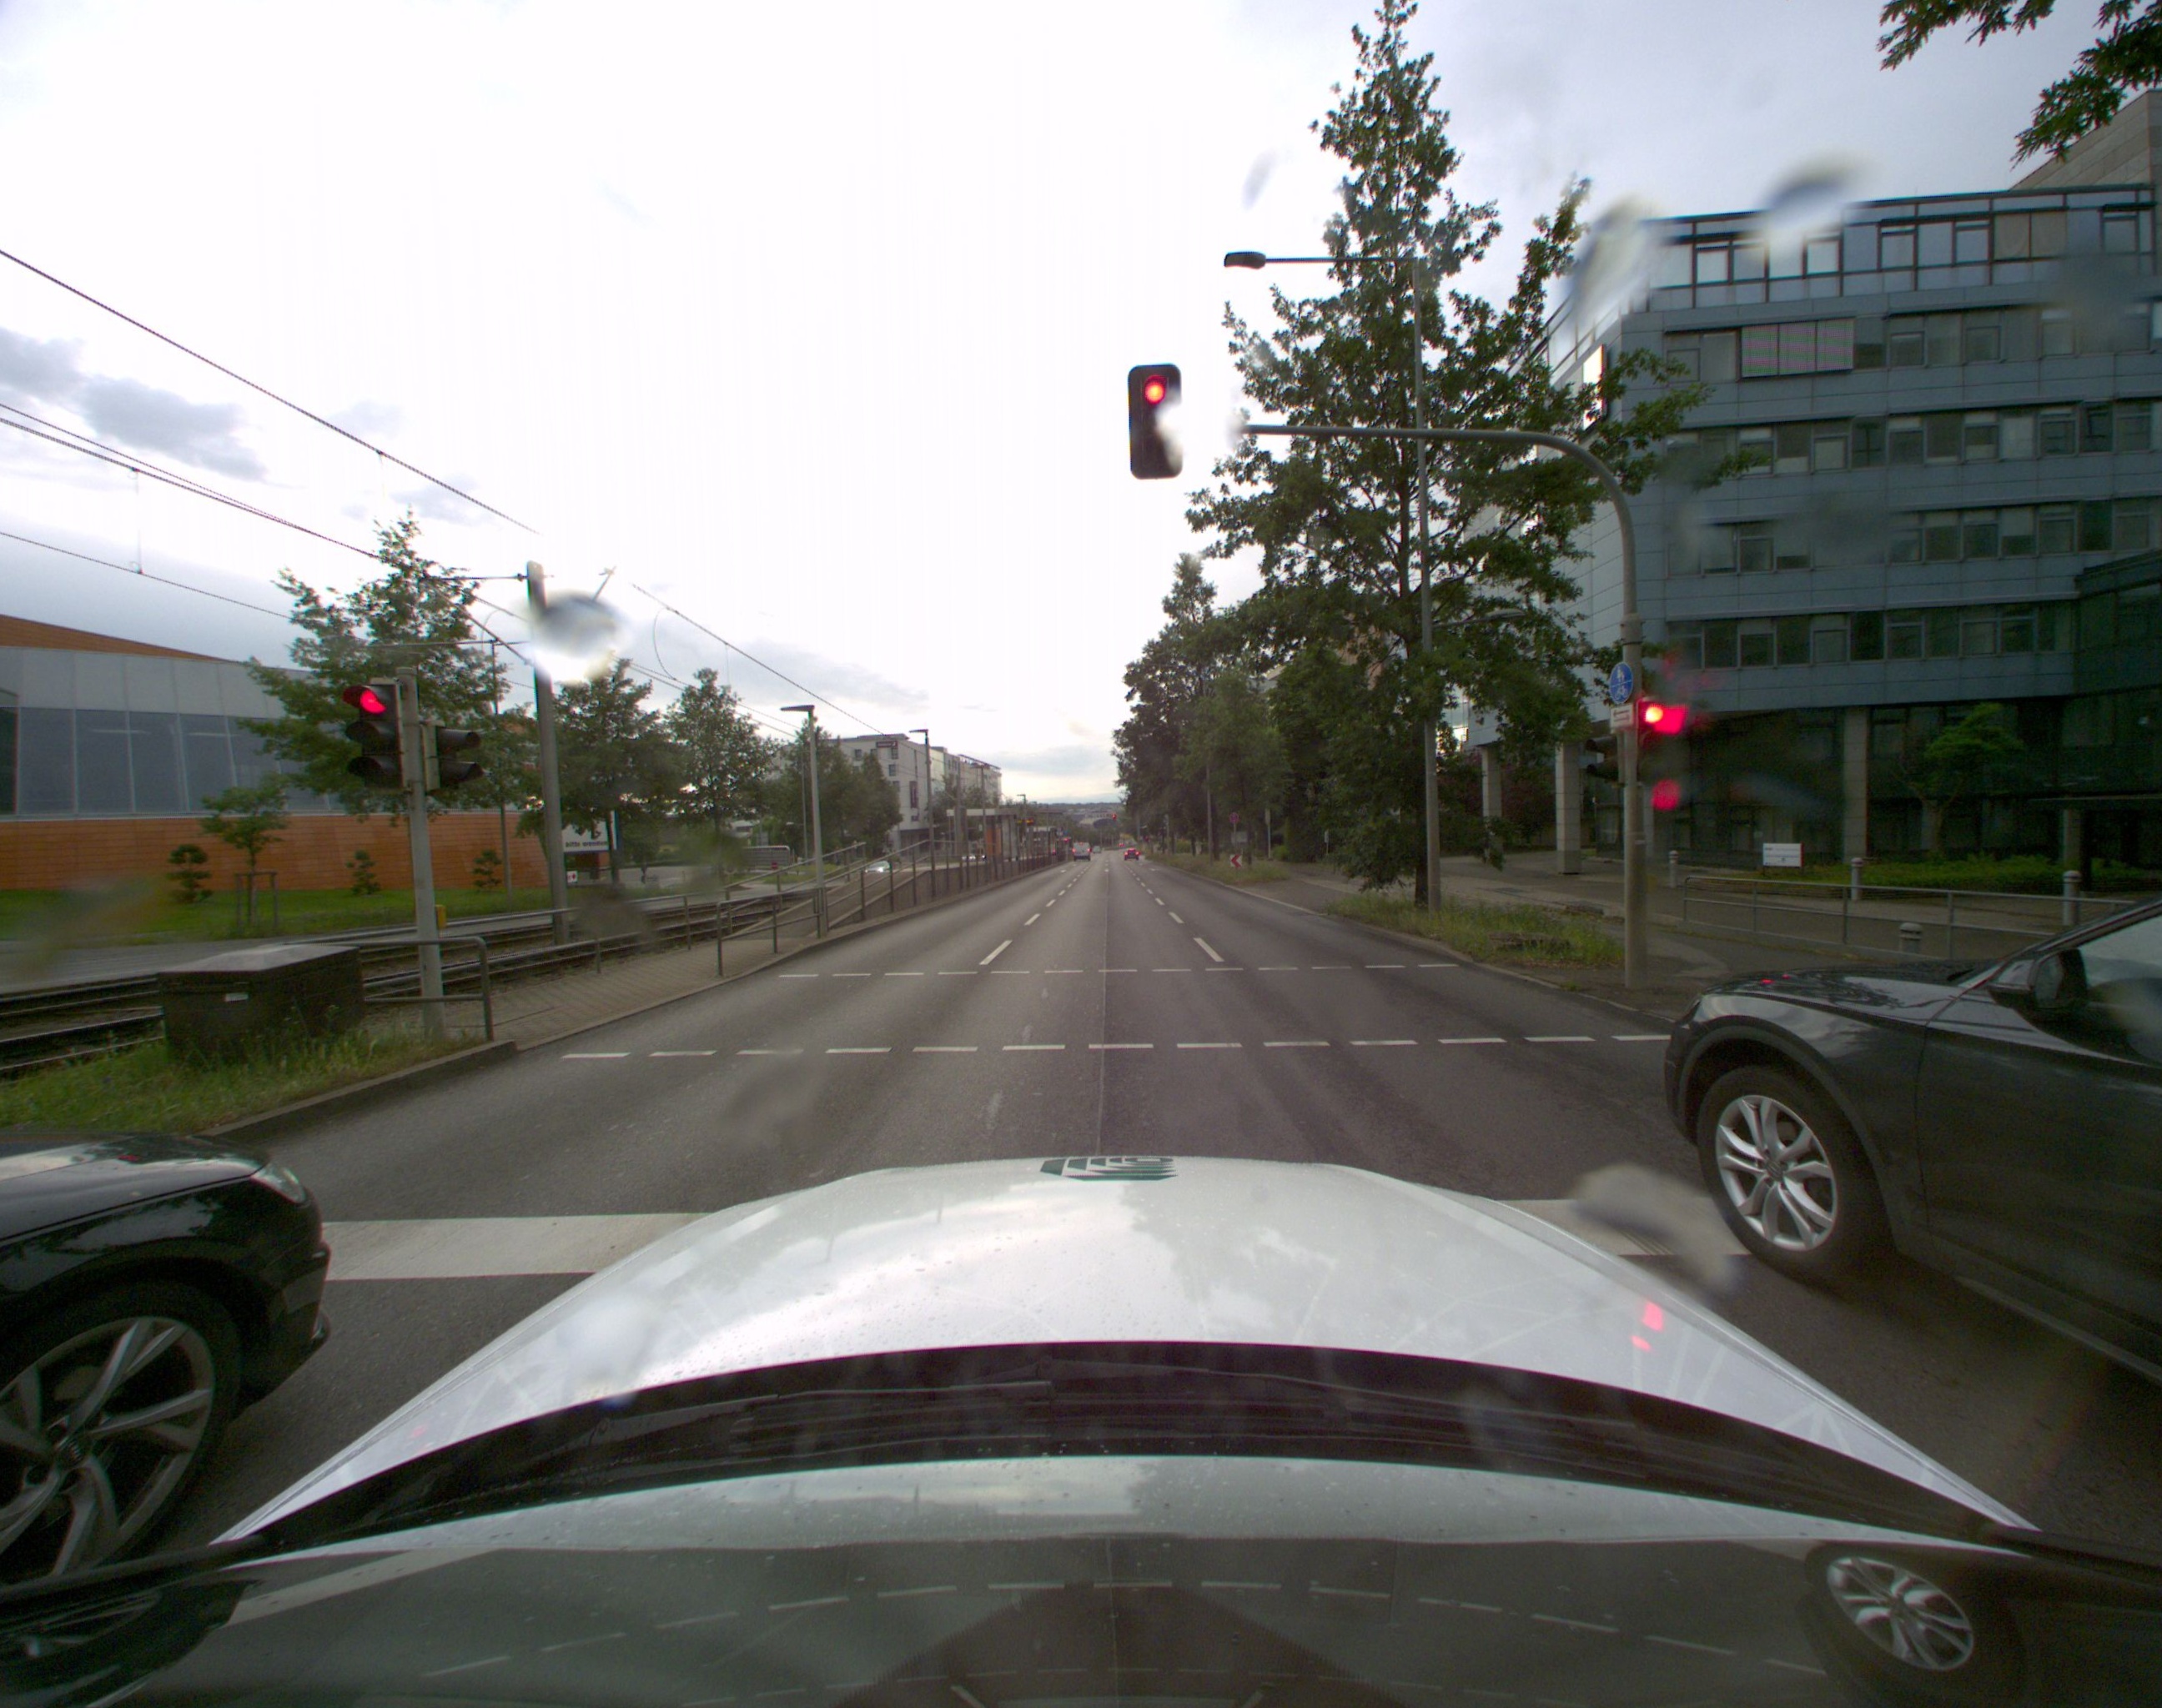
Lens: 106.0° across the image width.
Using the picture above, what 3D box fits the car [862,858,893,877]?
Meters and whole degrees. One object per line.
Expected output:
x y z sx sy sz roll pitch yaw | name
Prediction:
-17.444 1.168 70.077 1.645 1.436 3.879 -4 0 0 | car

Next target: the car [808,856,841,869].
-29.819 1.028 94.832 3.346 1.387 1.438 -1 0 11 | car

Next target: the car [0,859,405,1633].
-3.002 0.777 0.207 1.774 1.466 4.515 -1 0 2 | car

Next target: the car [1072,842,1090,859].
-0.021 -0.445 102.696 2.085 2.053 4.608 -1 0 2 | car

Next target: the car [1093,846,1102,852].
3.668 -1.148 180.885 1.776 1.390 4.003 -2 0 3 | car

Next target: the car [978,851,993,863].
-12.710 0.373 108.649 1.651 1.436 3.865 -4 0 -11 | car

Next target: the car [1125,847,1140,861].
6.510 0.032 102.830 1.767 1.691 3.847 -1 0 2 | car

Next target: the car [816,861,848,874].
-29.599 1.593 96.752 3.341 1.387 1.440 -1 0 18 | car

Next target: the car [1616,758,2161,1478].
3.305 0.576 1.475 1.811 1.612 4.472 -1 0 2 | car
